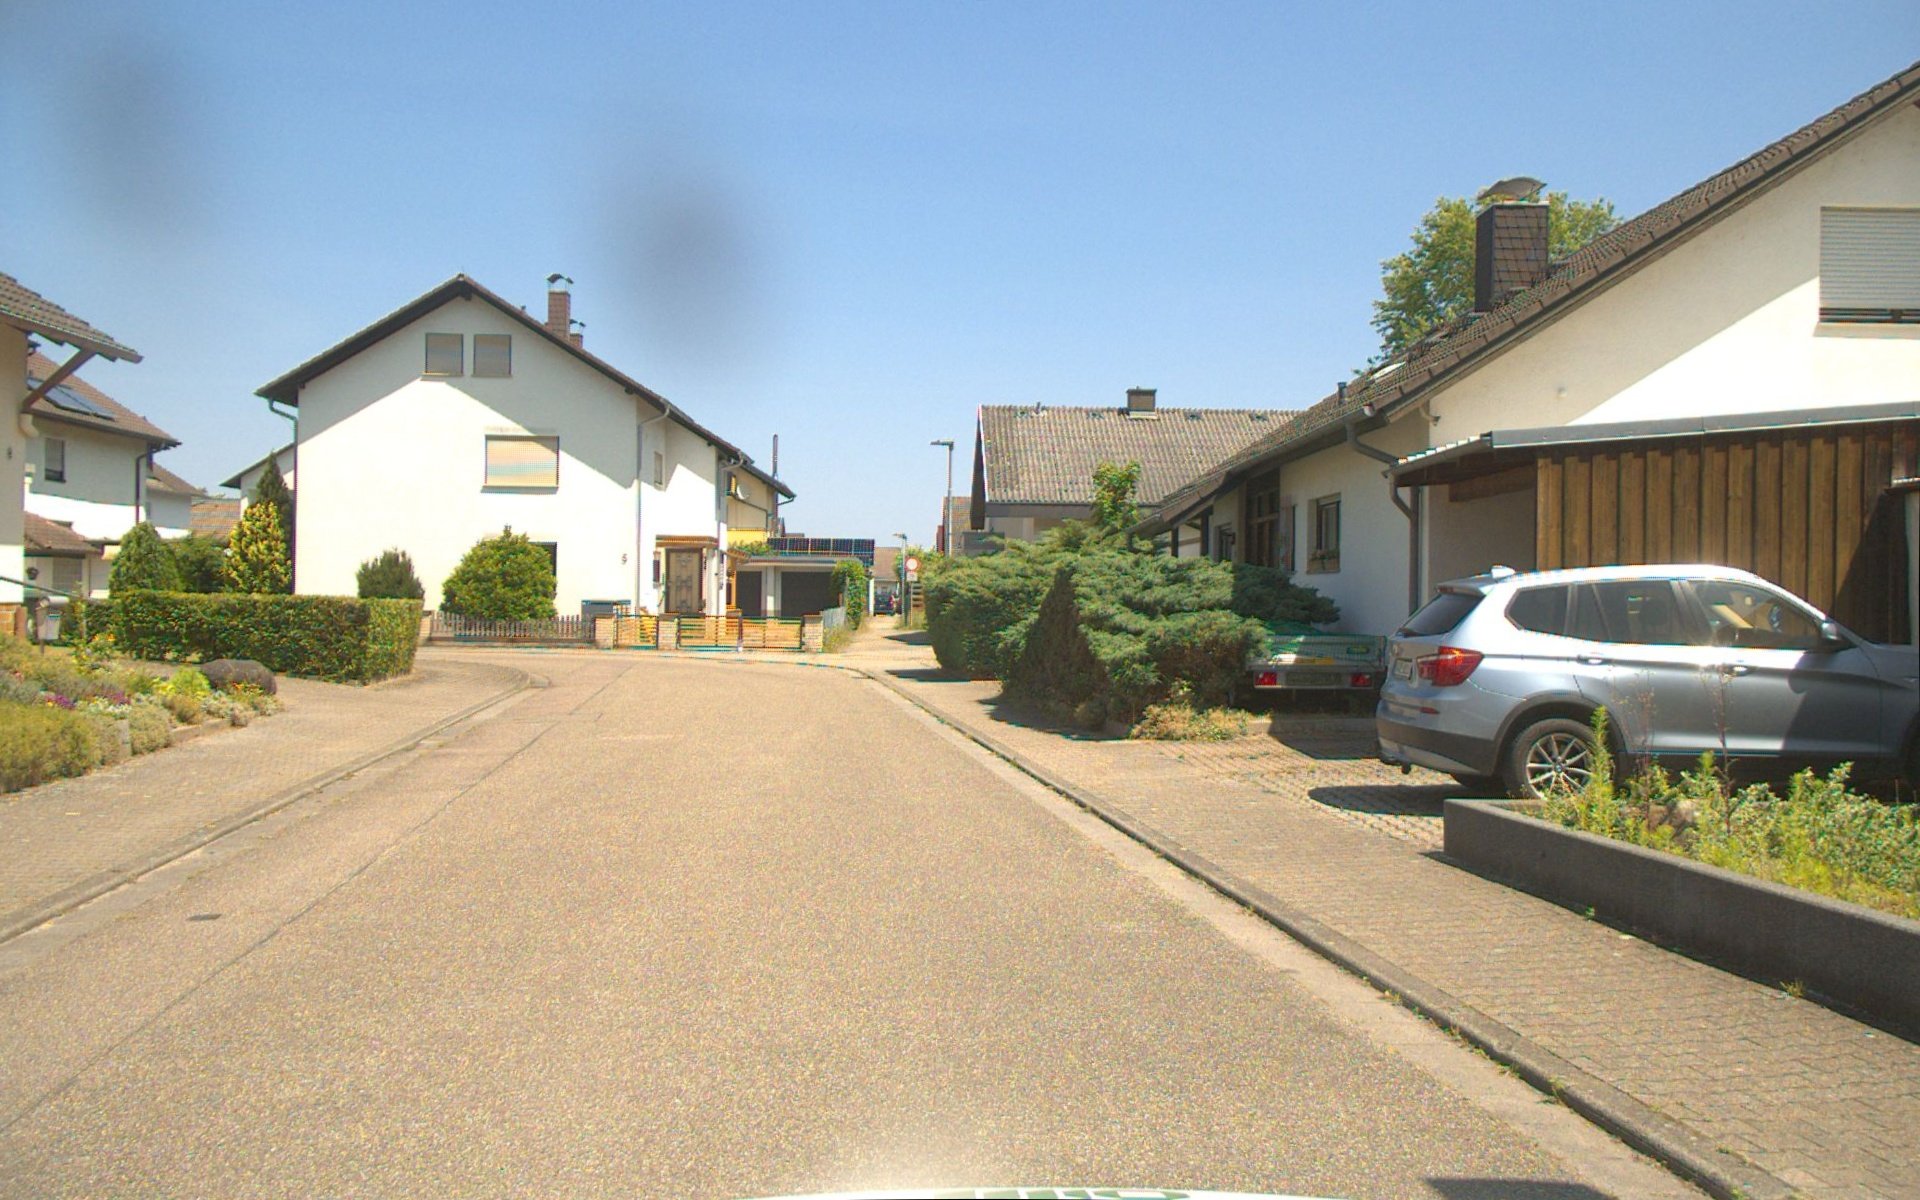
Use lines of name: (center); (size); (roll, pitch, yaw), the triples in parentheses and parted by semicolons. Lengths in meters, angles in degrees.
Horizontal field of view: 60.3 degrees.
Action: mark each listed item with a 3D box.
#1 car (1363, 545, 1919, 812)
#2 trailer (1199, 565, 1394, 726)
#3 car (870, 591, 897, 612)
car: (5.386, 0.514, 11.930); (4.531, 1.732, 1.710); (-1, 0, 1)
trailer: (3.866, 0.471, 19.464); (1.555, 1.701, 3.296); (-1, 1, -1)
car: (-6.320, 0.135, 137.264); (2.149, 1.731, 3.806); (0, 0, -1)
